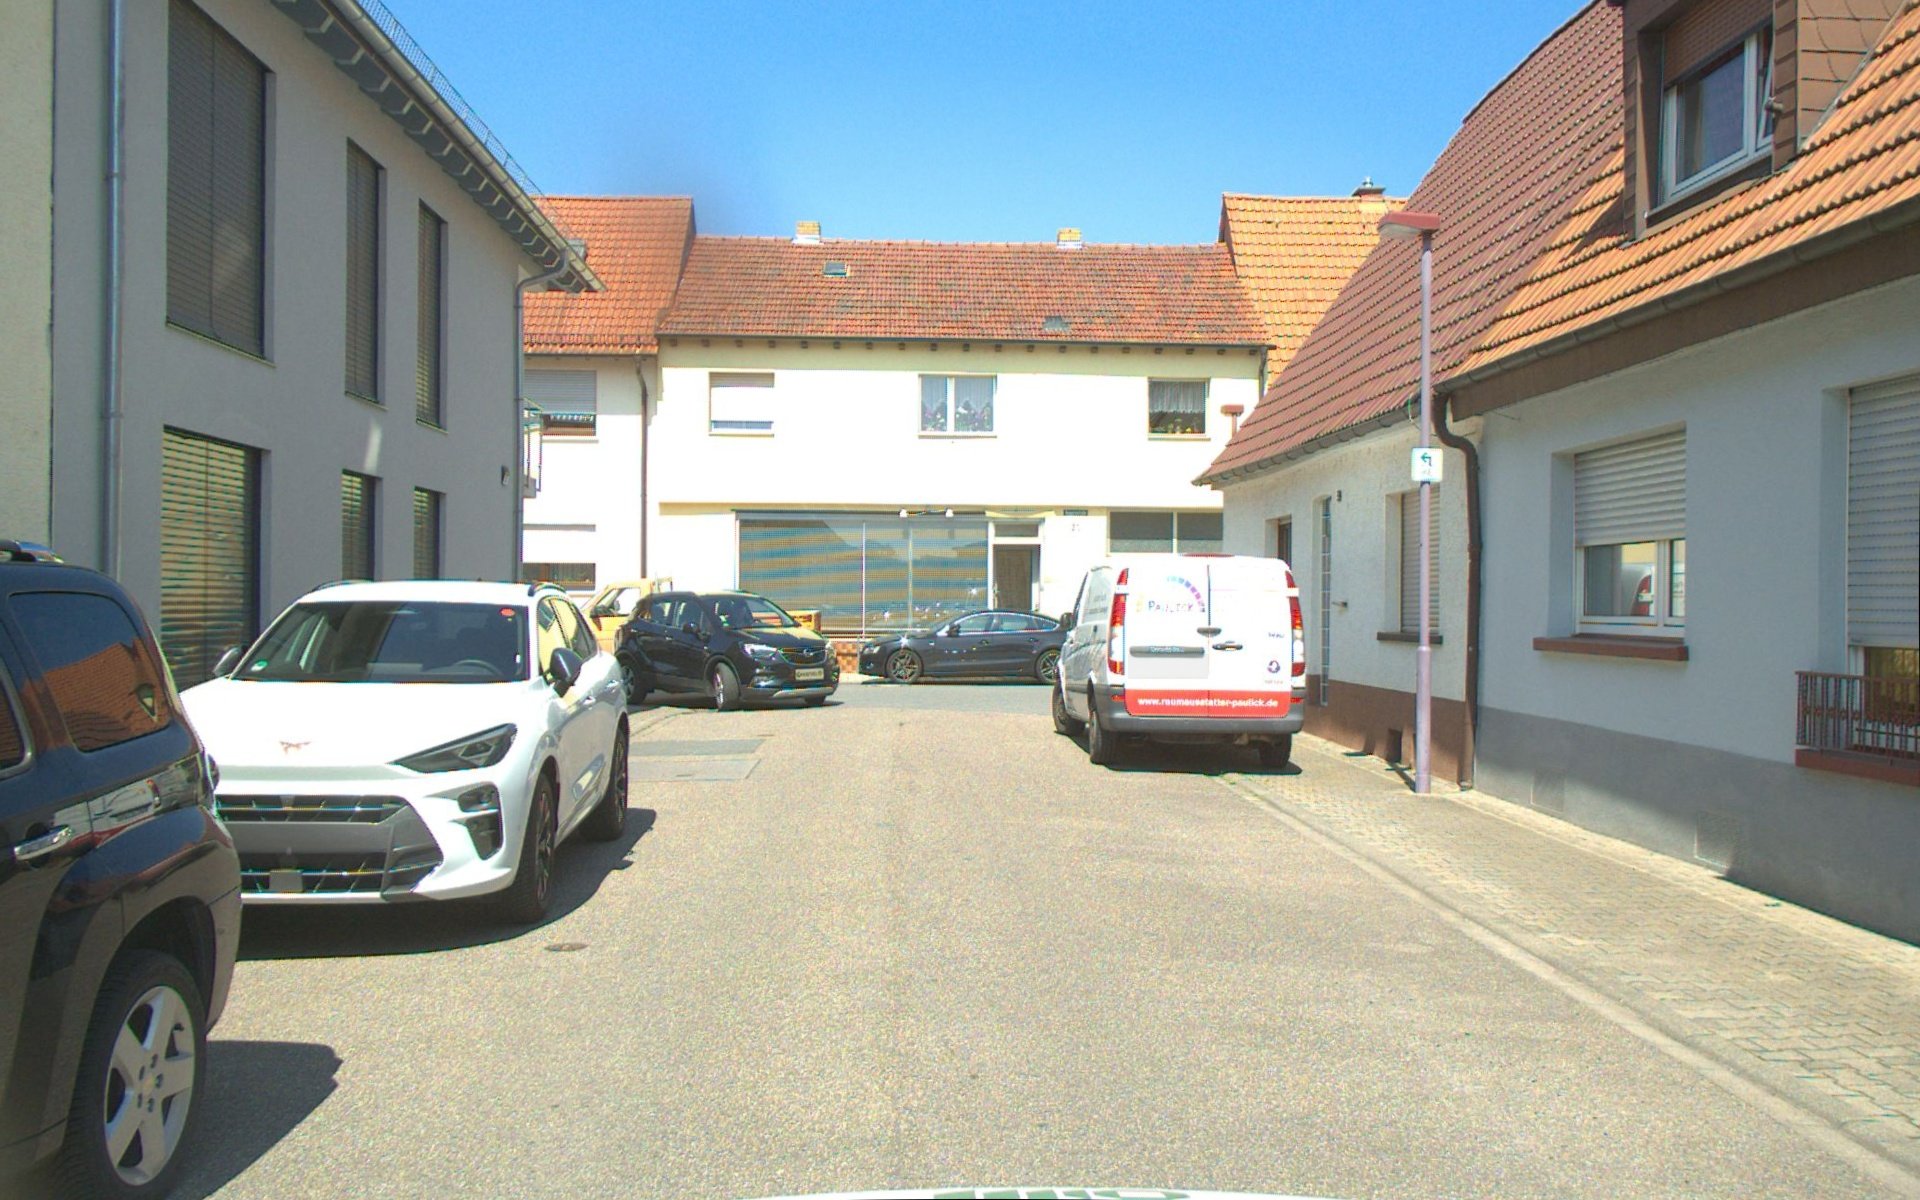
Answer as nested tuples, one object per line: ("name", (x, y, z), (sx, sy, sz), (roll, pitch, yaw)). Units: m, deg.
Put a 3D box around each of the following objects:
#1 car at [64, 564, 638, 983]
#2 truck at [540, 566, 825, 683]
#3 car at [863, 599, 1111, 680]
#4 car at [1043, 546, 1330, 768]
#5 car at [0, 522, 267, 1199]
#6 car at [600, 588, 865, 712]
("car", (-2.857, 0.692, 8.815), (1.739, 1.643, 4.345), (-1, 0, -5))
("truck", (-5.076, 0.459, 30.866), (4.961, 2.049, 2.188), (1, -1, -3))
("car", (0.444, 0.778, 31.117), (4.525, 1.419, 1.926), (1, -3, -4))
("car", (2.091, 0.494, 16.867), (1.972, 1.871, 5.262), (1, 0, -2))
("car", (-2.724, 0.671, 2.527), (1.687, 1.643, 3.988), (-1, -1, -1))
("car", (-3.374, 0.667, 24.006), (1.748, 1.610, 4.214), (-1, 0, -42))
